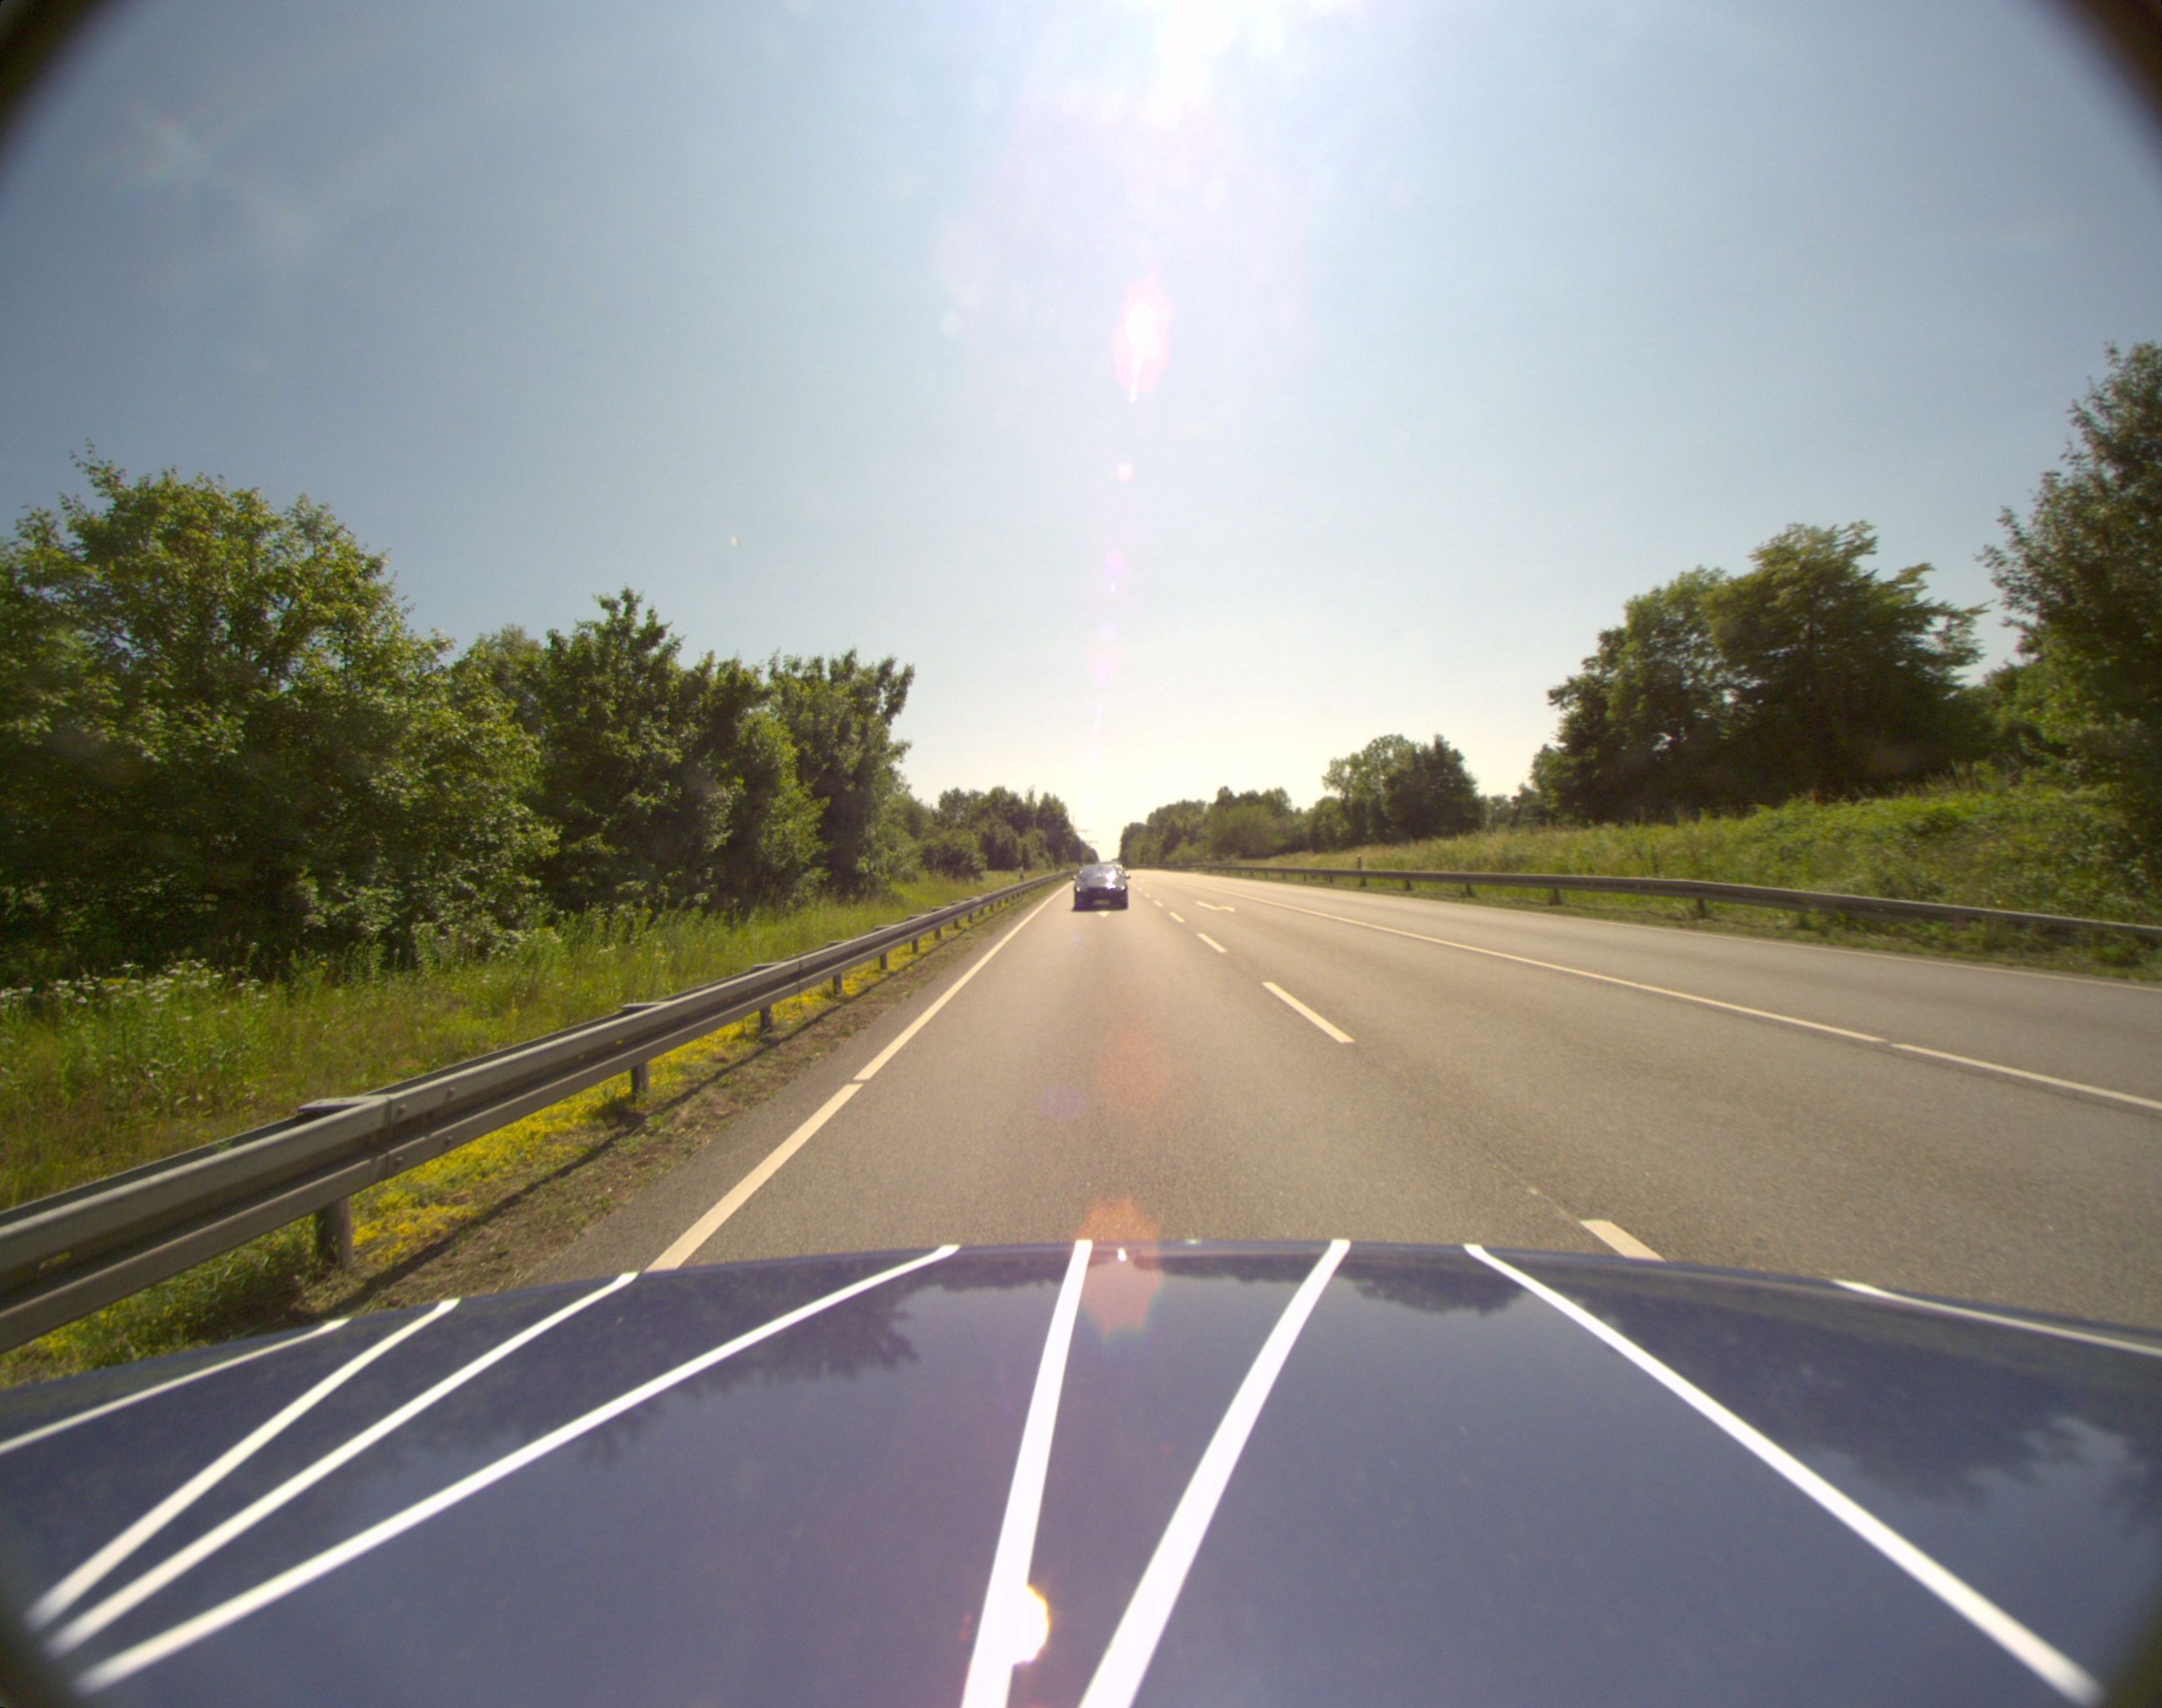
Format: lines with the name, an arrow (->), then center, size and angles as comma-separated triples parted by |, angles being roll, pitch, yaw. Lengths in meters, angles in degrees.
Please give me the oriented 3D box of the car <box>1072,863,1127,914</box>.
car -> 0.595, 1.019, 23.683 | 1.529, 1.387, 3.444 | -3, 0, 2
